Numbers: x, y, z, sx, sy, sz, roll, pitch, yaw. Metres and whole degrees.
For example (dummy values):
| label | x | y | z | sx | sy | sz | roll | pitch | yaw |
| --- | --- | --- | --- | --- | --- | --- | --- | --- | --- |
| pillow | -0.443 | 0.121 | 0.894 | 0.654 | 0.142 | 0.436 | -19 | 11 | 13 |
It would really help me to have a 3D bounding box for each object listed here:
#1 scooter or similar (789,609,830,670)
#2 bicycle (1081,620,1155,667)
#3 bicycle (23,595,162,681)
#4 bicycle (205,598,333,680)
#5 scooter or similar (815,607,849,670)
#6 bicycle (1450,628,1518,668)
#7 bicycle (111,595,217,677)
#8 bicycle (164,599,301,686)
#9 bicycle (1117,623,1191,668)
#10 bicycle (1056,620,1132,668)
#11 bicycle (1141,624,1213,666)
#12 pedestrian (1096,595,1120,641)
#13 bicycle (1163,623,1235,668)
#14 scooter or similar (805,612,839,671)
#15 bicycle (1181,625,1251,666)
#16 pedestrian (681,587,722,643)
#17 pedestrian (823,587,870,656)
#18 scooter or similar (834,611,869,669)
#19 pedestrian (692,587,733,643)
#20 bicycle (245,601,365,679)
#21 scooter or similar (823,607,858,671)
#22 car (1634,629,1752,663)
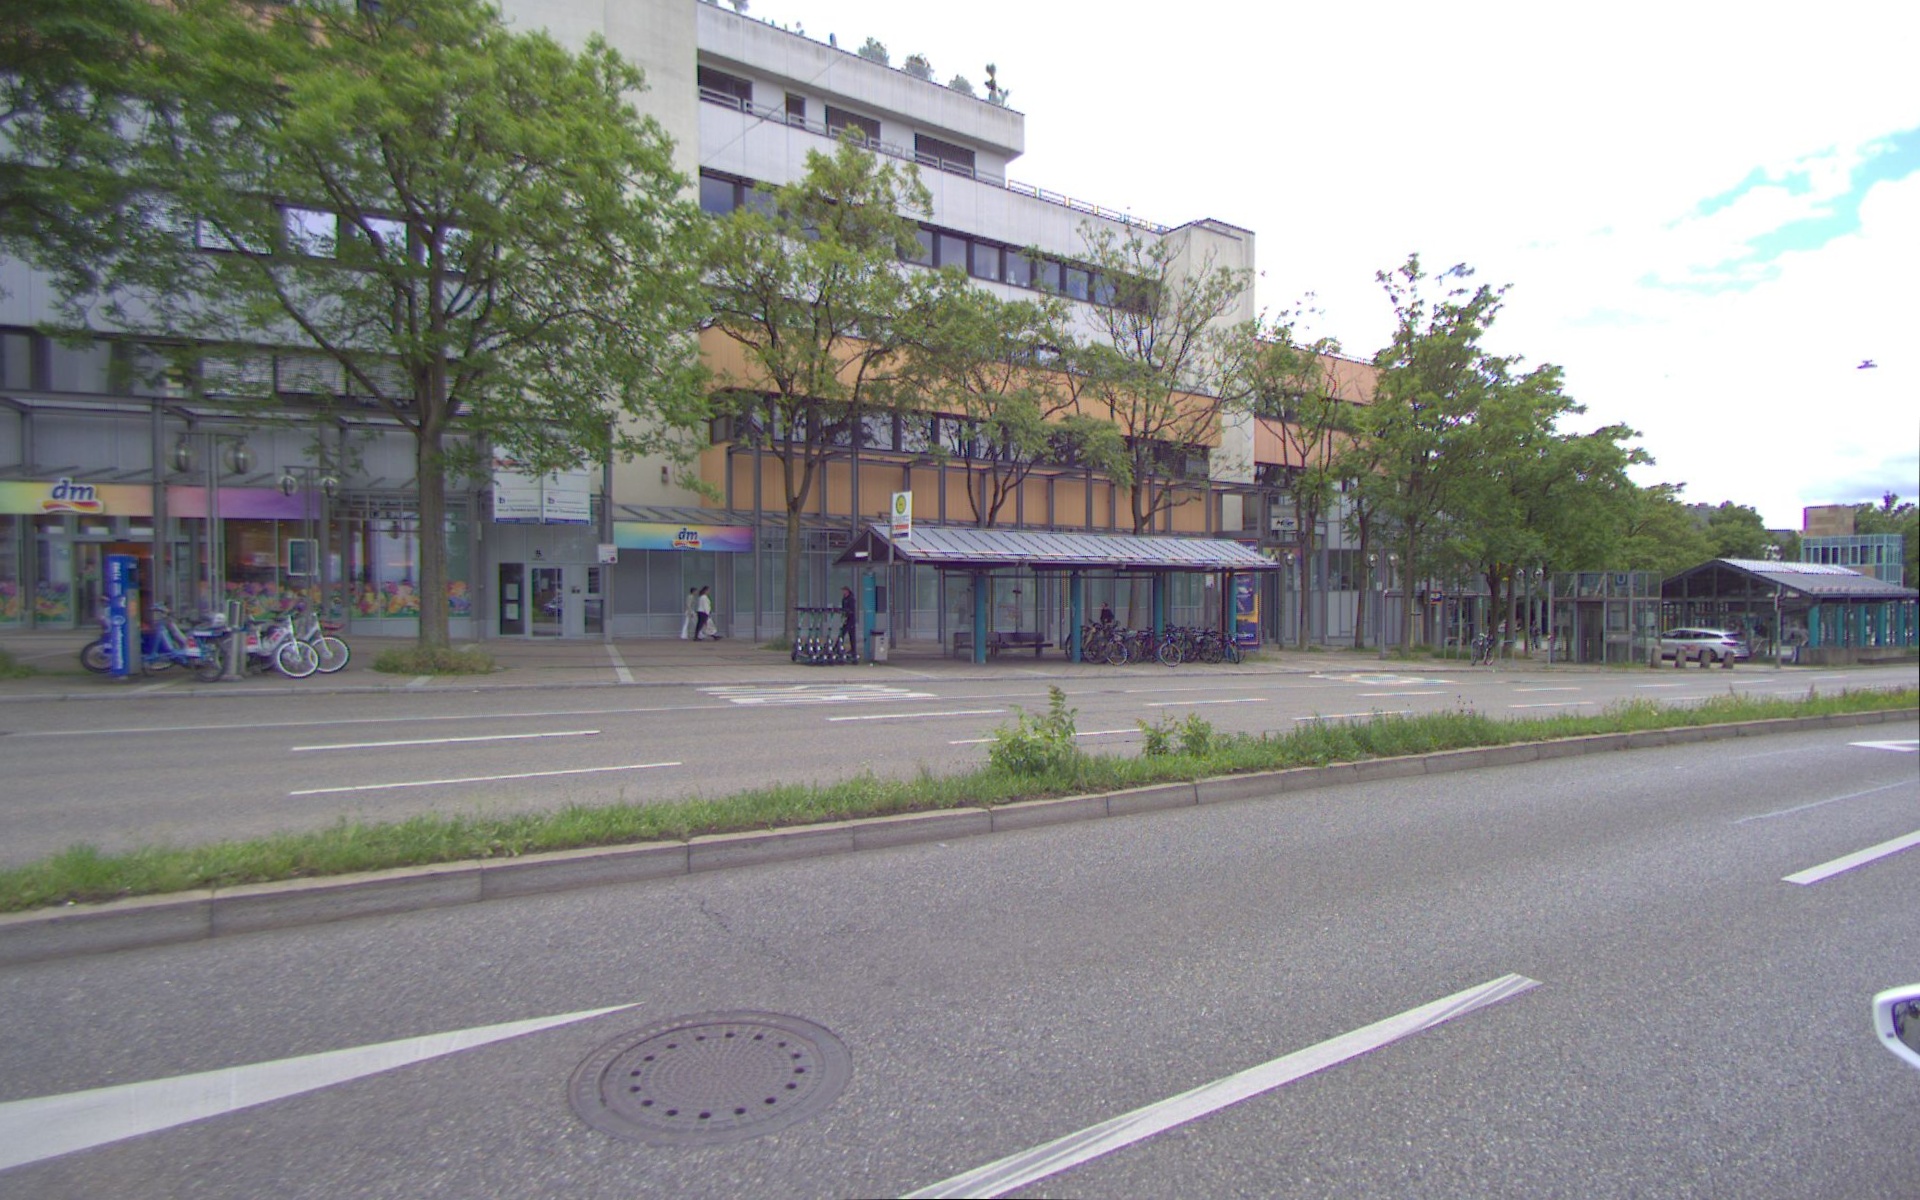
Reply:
| label | x | y | z | sx | sy | sz | roll | pitch | yaw |
| --- | --- | --- | --- | --- | --- | --- | --- | --- | --- |
| scooter or similar | -3.434 | 0.883 | 22.834 | 0.336 | 1.286 | 1.312 | 1 | 1 | -35 |
| bicycle | 4.511 | 1.232 | 28.760 | 0.707 | 1.169 | 2.044 | 2 | 2 | -44 |
| bicycle | -13.375 | 0.570 | 15.503 | 1.650 | 1.270 | 0.627 | 1 | 0 | 5 |
| bicycle | -11.190 | 0.627 | 16.279 | 1.650 | 1.270 | 0.627 | 1 | 0 | 4 |
| scooter or similar | -2.985 | 0.878 | 23.287 | 0.220 | 1.403 | 1.193 | 1 | -1 | -35 |
| bicycle | 18.417 | 1.678 | 35.304 | 2.399 | 1.288 | 1.045 | 2 | 1 | -33 |
| bicycle | -12.789 | 0.576 | 16.144 | 1.441 | 1.270 | 0.432 | 1 | 0 | 7 |
| bicycle | -11.088 | 0.640 | 15.339 | 1.650 | 1.270 | 0.627 | 1 | 0 | 4 |
| bicycle | 5.572 | 1.283 | 28.963 | 0.707 | 1.169 | 2.044 | 2 | 1 | -44 |
| bicycle | 3.701 | 1.199 | 27.941 | 0.707 | 1.169 | 2.044 | 1 | 2 | -44 |
| bicycle | 6.474 | 1.334 | 30.082 | 0.707 | 1.169 | 2.044 | 2 | -1 | -44 |
| pedestrian | 5.434 | 0.678 | 36.893 | 0.667 | 1.665 | 0.530 | 1 | -1 | -28 |
| bicycle | 7.288 | 1.360 | 30.702 | 0.707 | 1.169 | 2.044 | 2 | 3 | -44 |
| scooter or similar | -3.179 | 0.932 | 23.090 | 0.265 | 1.312 | 1.119 | 1 | -1 | -36 |
| bicycle | 7.990 | 1.404 | 31.425 | 0.707 | 1.169 | 2.044 | 2 | 0 | -44 |
| pedestrian | -7.753 | 0.452 | 30.132 | 0.986 | 1.639 | 0.728 | 1 | -1 | -33 |
| pedestrian | -3.026 | 0.571 | 26.783 | 0.986 | 1.805 | 0.728 | 1 | -1 | -33 |
| scooter or similar | -2.563 | 0.925 | 23.664 | 0.257 | 1.338 | 1.193 | 1 | -1 | -35 |
| pedestrian | -7.299 | 0.445 | 29.604 | 0.986 | 1.639 | 0.728 | 1 | -1 | -33 |
| bicycle | -11.251 | 0.677 | 17.277 | 1.650 | 1.270 | 0.627 | 1 | 0 | 4 |
| scooter or similar | -2.802 | 0.895 | 23.491 | 0.257 | 1.442 | 1.193 | 1 | -1 | -35 |
| car | 32.969 | 2.051 | 45.221 | 1.984 | 1.372 | 3.953 | 2 | -1 | -40 |
